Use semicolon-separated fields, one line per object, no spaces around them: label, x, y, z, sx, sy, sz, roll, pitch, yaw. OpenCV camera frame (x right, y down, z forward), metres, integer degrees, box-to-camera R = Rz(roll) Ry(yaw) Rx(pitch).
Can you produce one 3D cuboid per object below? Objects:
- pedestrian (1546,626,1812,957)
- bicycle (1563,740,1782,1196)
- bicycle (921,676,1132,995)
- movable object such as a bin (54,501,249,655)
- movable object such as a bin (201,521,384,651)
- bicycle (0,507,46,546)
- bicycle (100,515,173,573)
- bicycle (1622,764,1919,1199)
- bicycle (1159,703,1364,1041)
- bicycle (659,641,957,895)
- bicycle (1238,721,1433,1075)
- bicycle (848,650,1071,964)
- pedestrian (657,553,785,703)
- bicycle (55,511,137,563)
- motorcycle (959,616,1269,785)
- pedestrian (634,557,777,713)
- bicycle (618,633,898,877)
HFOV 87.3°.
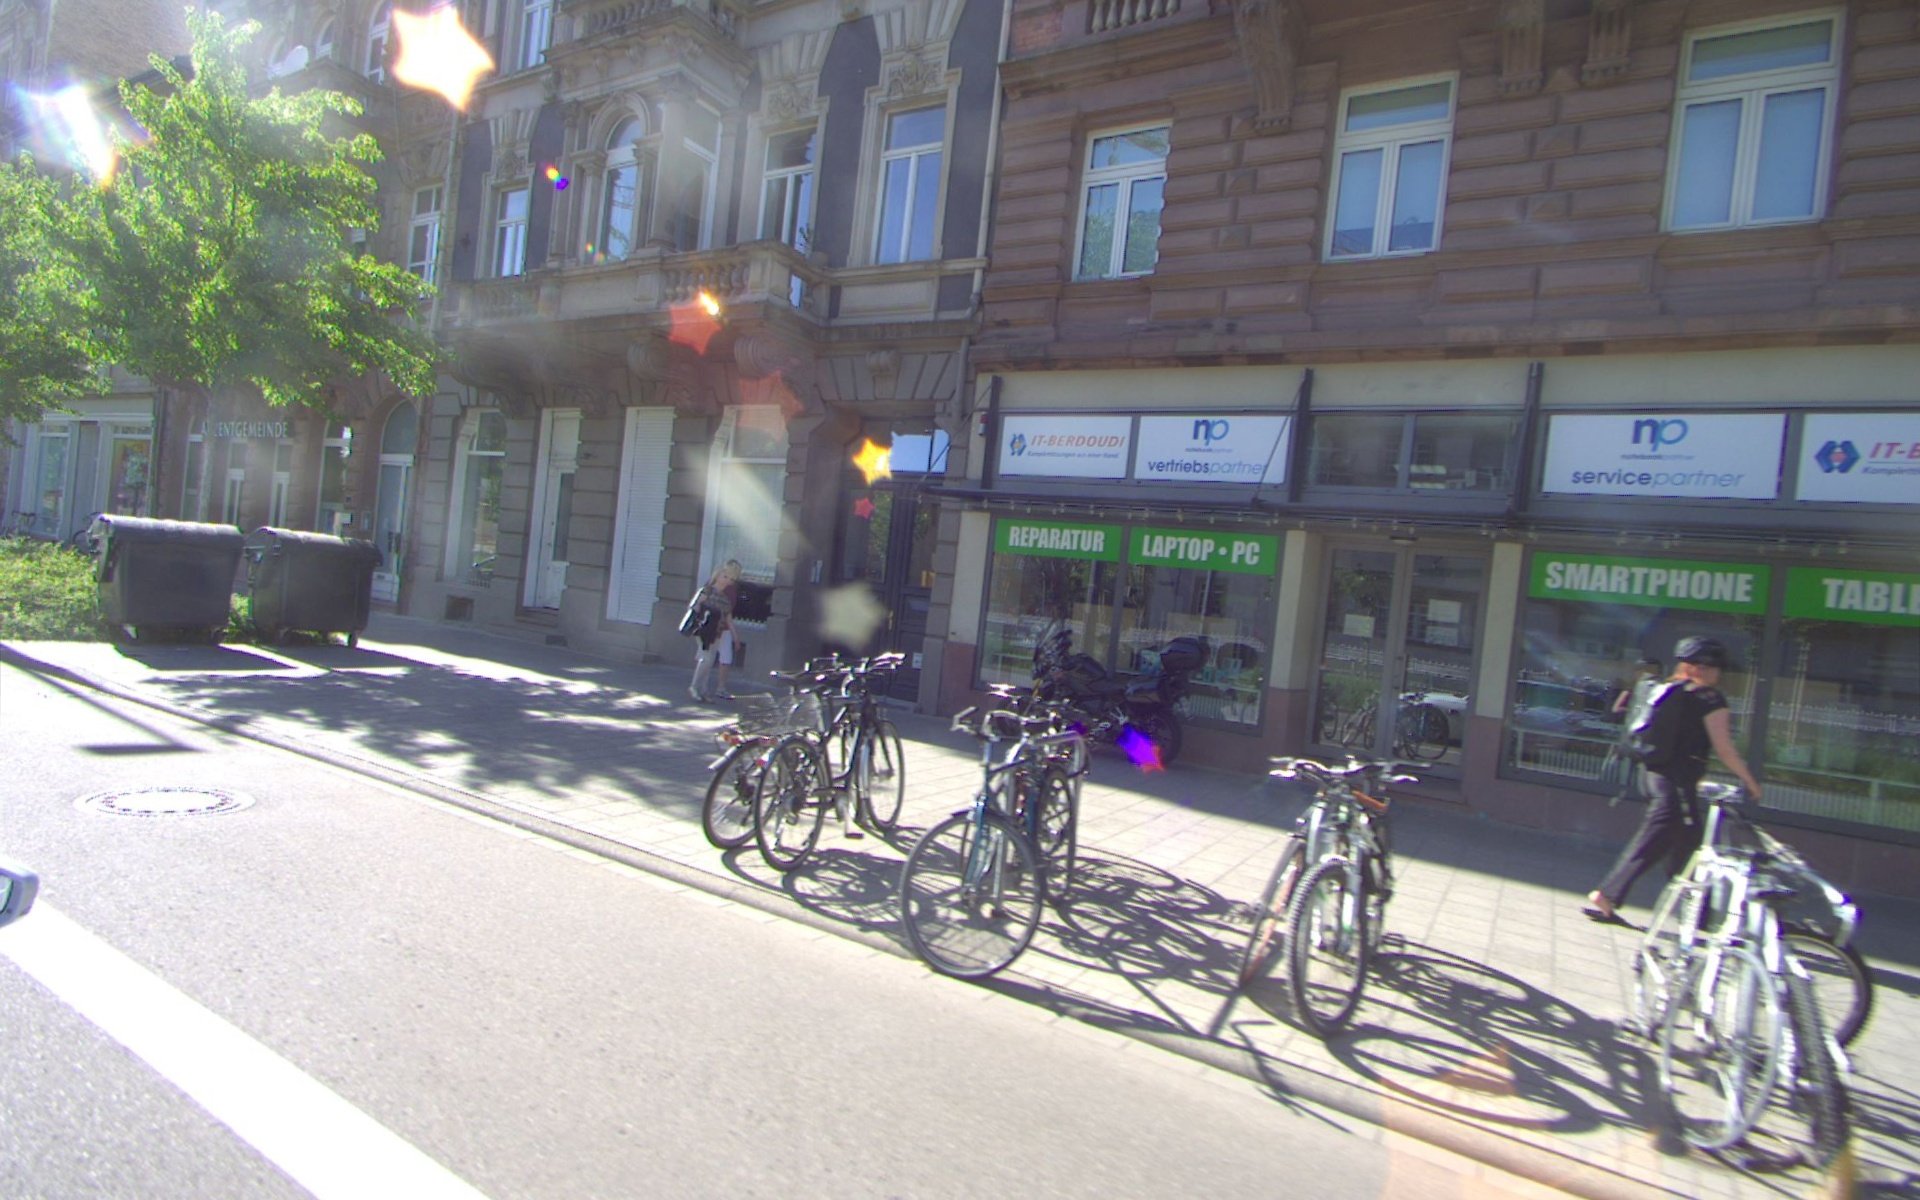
pedestrian;4.314;1.096;6.140;0.885;1.760;0.848;5;3;12
bicycle;2.663;1.222;3.902;0.367;1.193;1.869;6;0;29
bicycle;0.451;1.042;5.227;0.477;1.117;2.291;6;1;17
movable object such as a bin;-9.423;-0.256;11.724;1.618;1.481;1.272;9;0;36
movable object such as a bin;-8.740;-0.181;13.179;1.720;1.515;1.373;6;2;33
bicycle;-27.244;-2.147;29.206;1.979;0.956;0.448;7;0;32
bicycle;-19.463;-1.330;23.775;1.771;1.216;0.748;6;1;32
bicycle;2.962;1.312;3.737;0.509;1.123;1.894;6;1;26
bicycle;1.500;1.123;4.751;0.428;1.123;1.979;6;1;29
bicycle;-0.777;0.856;5.889;0.600;1.122;2.046;6;2;26
bicycle;1.760;1.180;4.536;0.561;1.069;1.817;6;1;26
bicycle;0.100;0.923;5.284;0.421;1.170;2.151;6;3;18
pedestrian;-2.924;0.341;12.331;0.976;1.660;0.972;8;2;31
bicycle;-21.917;-1.597;25.518;2.144;1.120;0.876;6;3;29
motorcycle;1.516;0.962;10.305;2.932;1.282;0.867;6;0;32
pedestrian;-2.873;0.388;11.394;1.062;1.587;0.951;8;2;31
bicycle;-1.120;0.825;6.095;0.473;1.140;1.976;7;4;26
